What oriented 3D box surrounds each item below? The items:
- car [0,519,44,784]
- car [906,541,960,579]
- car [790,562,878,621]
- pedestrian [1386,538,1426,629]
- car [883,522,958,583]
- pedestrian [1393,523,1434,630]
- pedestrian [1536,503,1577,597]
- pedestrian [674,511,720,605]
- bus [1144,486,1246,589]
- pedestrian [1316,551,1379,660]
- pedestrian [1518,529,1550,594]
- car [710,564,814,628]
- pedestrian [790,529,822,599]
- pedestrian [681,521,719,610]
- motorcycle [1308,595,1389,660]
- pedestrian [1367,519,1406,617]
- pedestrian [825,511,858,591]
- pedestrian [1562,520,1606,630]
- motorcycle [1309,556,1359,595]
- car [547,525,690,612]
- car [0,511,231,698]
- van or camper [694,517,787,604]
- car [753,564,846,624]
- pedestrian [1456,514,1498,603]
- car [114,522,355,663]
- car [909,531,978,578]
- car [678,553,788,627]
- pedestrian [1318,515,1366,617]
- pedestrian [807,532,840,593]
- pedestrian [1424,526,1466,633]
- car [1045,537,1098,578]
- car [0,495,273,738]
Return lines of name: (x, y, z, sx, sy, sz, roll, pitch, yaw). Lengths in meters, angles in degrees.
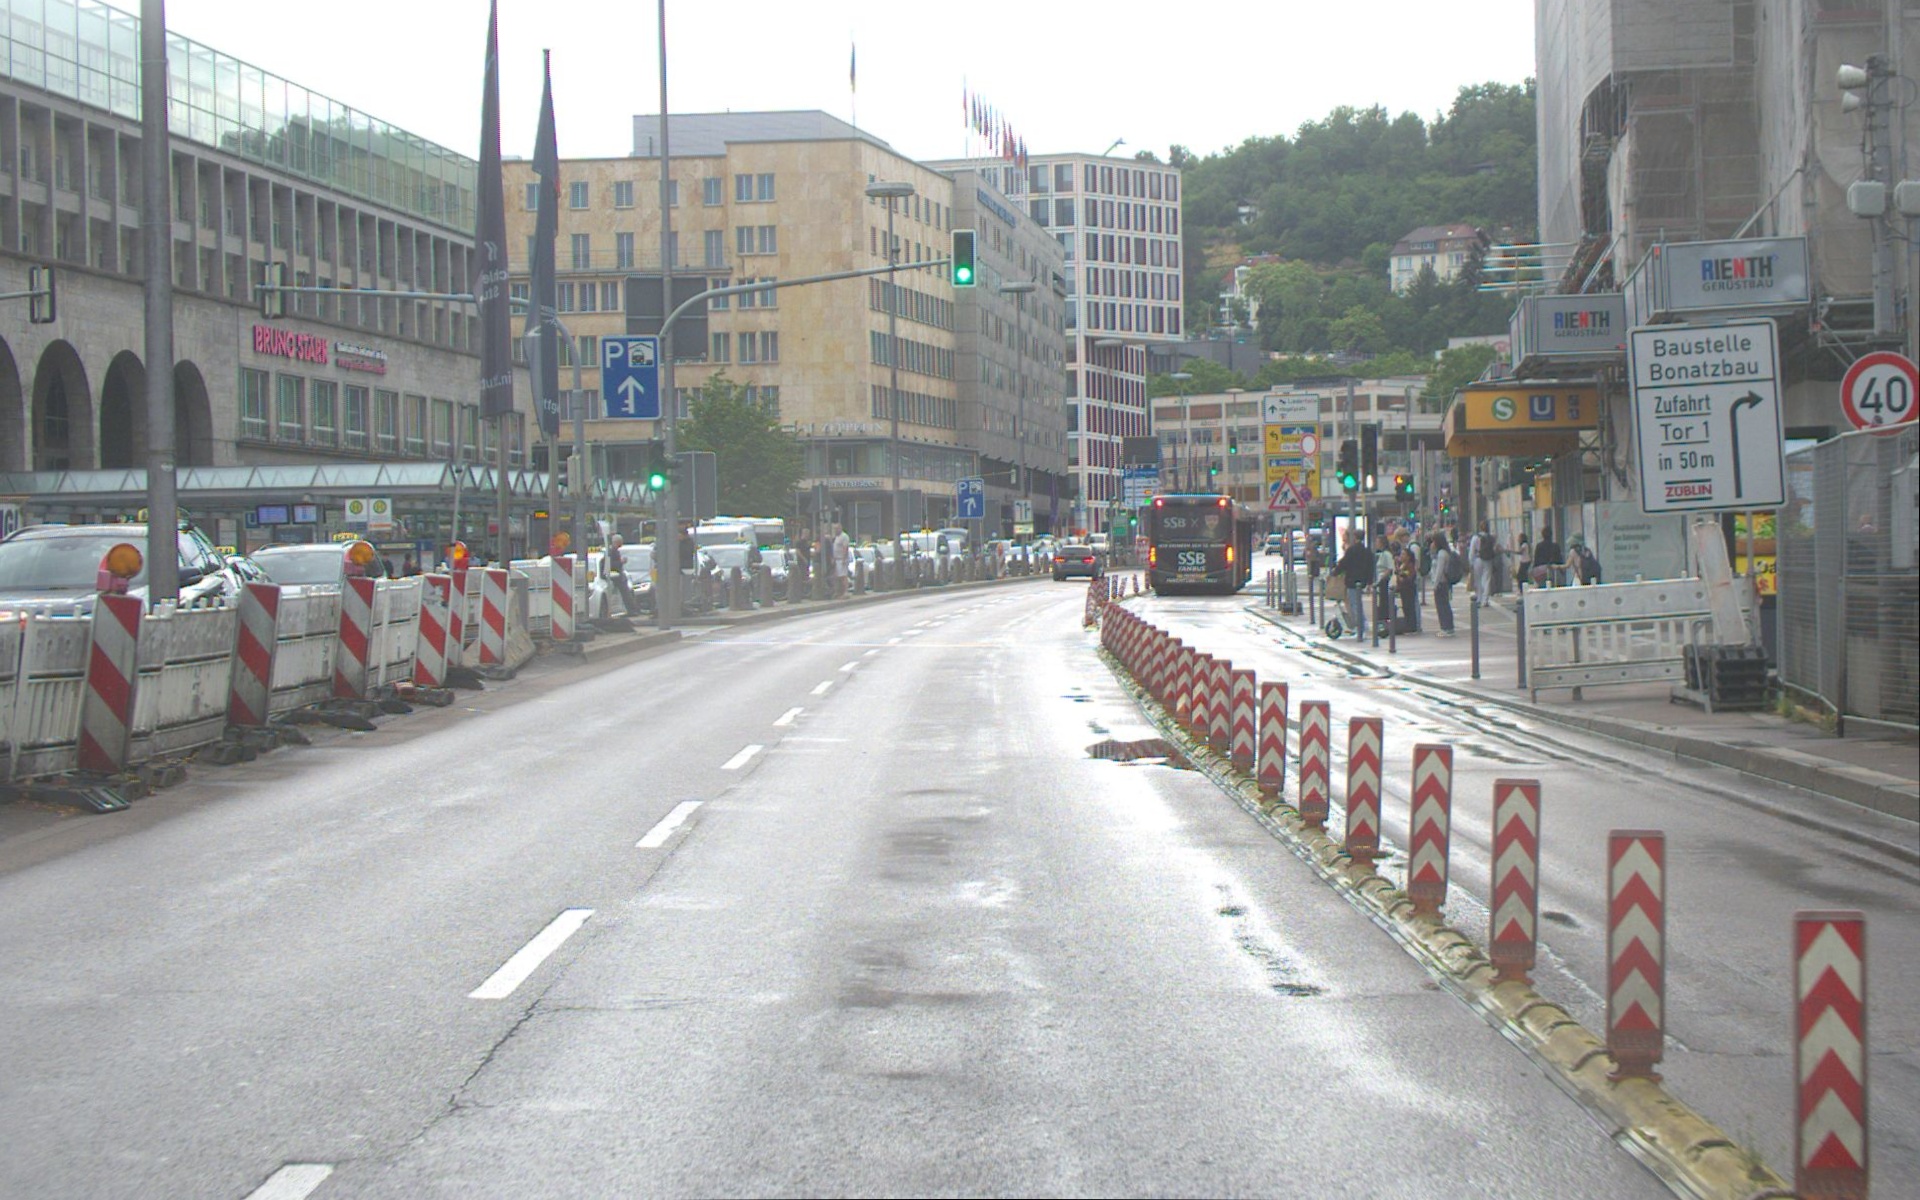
car: (-7.487, 0.400, 21.427, 1.994, 1.764, 4.810, -1, 1, 3)
car: (-1.122, -1.677, 144.727, 1.994, 1.547, 3.999, -1, 0, 4)
car: (-3.771, -0.257, 103.797, 1.976, 1.653, 5.192, -2, 0, 5)
pedestrian: (7.281, -0.270, 56.151, 0.558, 1.444, 0.711, -4, 0, 7)
car: (-1.428, -1.741, 126.435, 1.994, 2.171, 5.543, -1, 1, 7)
pedestrian: (7.559, -0.399, 57.292, 0.558, 1.746, 0.711, -4, 0, 7)
pedestrian: (10.603, -0.887, 61.123, 0.549, 1.627, 0.995, -4, 0, 6)
pedestrian: (-5.128, -0.818, 66.966, 0.781, 1.769, 0.606, -4, 0, -6)
bus: (7.401, -1.893, 107.296, 2.756, 3.058, 9.078, 0, 0, 6)
pedestrian: (6.223, 0.081, 55.195, 0.580, 1.735, 0.822, -1, 1, -37)
pedestrian: (14.014, -0.945, 83.998, 0.651, 1.534, 0.665, -4, 0, 7)
car: (-5.215, -0.115, 91.212, 1.930, 1.571, 5.260, -2, 0, 5)
pedestrian: (-3.874, -0.916, 86.609, 0.698, 1.749, 0.711, -1, 1, 6)
pedestrian: (-5.029, -0.673, 66.555, 0.651, 1.706, 0.593, 1, 1, 4)
motorcycle: (6.237, 0.437, 55.187, 0.584, 1.018, 1.239, -1, 1, -37)
pedestrian: (7.326, -0.548, 59.056, 0.558, 1.635, 0.752, -4, 0, 7)
pedestrian: (-2.972, -1.224, 86.527, 0.723, 2.001, 0.772, 0, 1, 6)
pedestrian: (9.556, -0.388, 52.661, 0.564, 1.645, 0.614, -3, 0, 10)
motorcycle: (11.042, -0.721, 101.529, 1.613, 1.162, 0.586, 0, 0, -45)
car: (-6.659, -0.638, 67.535, 2.015, 1.615, 4.842, -1, 1, 4)
car: (-9.446, 0.001, 37.239, 1.903, 1.891, 4.523, 1, 1, 3)
van or camper: (-6.758, -1.212, 106.445, 1.994, 2.505, 5.369, -4, 0, 4)
car: (-4.519, -0.184, 97.692, 1.930, 1.571, 5.011, -2, 0, 5)
pedestrian: (10.918, -0.878, 72.585, 0.723, 1.841, 0.810, -4, 0, 6)
car: (-9.209, -0.134, 44.011, 1.903, 1.694, 4.500, 1, 1, 3)
car: (-0.611, -1.750, 131.740, 1.994, 1.716, 4.780, -1, 1, 8)
car: (-5.557, -0.255, 84.606, 1.930, 1.685, 4.681, -2, 0, 5)
pedestrian: (6.698, -0.595, 60.307, 0.558, 1.753, 0.752, -4, 0, -7)
pedestrian: (-3.590, -0.983, 90.211, 0.723, 1.601, 0.996, 1, 1, 6)
pedestrian: (7.666, -0.328, 54.353, 0.558, 1.645, 0.614, -4, 0, 7)
car: (4.452, -1.690, 137.442, 1.993, 1.547, 4.000, -1, 0, 1)
car: (-7.285, 0.086, 28.292, 1.994, 1.811, 4.810, -1, 1, 3)
